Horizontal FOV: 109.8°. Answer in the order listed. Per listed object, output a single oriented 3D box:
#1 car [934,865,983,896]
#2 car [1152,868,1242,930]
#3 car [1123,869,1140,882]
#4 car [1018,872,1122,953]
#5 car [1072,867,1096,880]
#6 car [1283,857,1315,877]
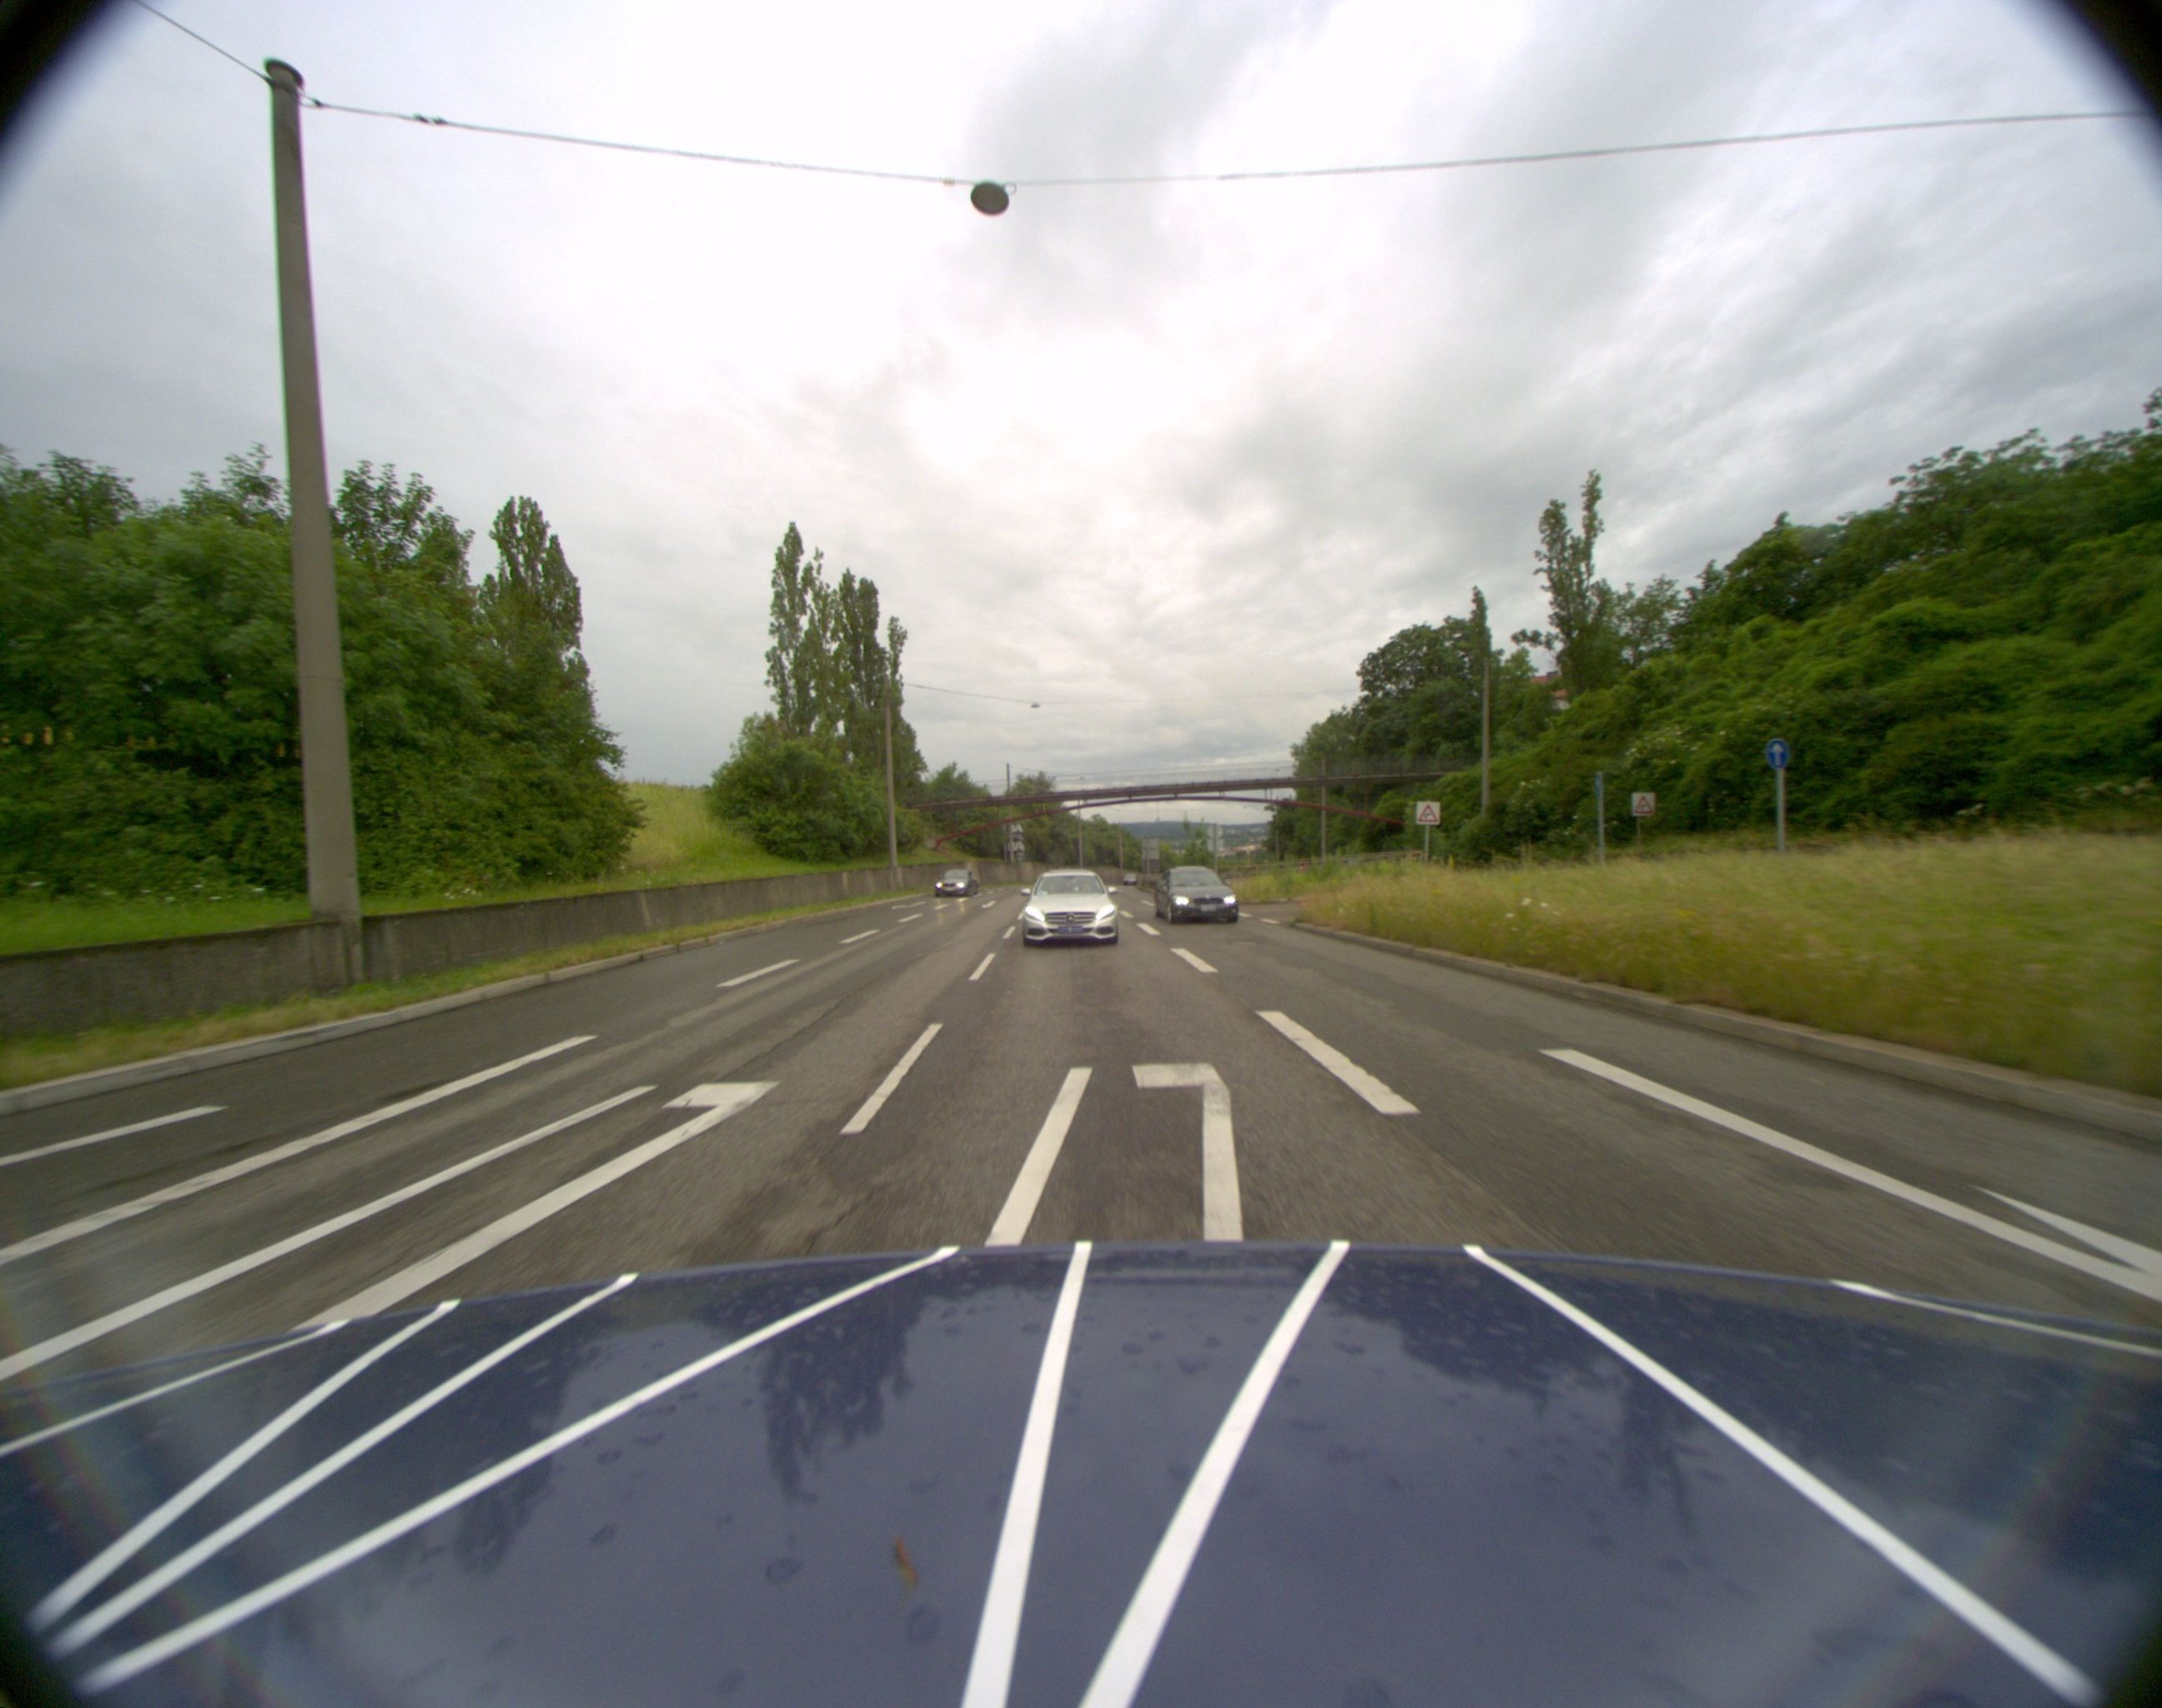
[{"bbox_3d":[-6.464,1.373,40.577,1.810,1.500,4.001,-2,-1,1],"label":"car"},{"bbox_3d":[3.038,1.141,20.632,1.730,1.462,3.887,-1,-1,-1],"label":"car"},{"bbox_3d":[6.562,2.783,98.820,1.808,1.500,4.004,-2,-1,9],"label":"car"},{"bbox_3d":[-0.181,1.117,16.046,1.861,1.394,4.315,-1,-1,0],"label":"car"},{"bbox_3d":[0.373,2.300,90.285,1.808,1.500,4.005,-2,-1,14],"label":"car"},{"bbox_3d":[20.730,1.202,72.401,1.998,1.823,4.632,-1,-1,5],"label":"car"}]
